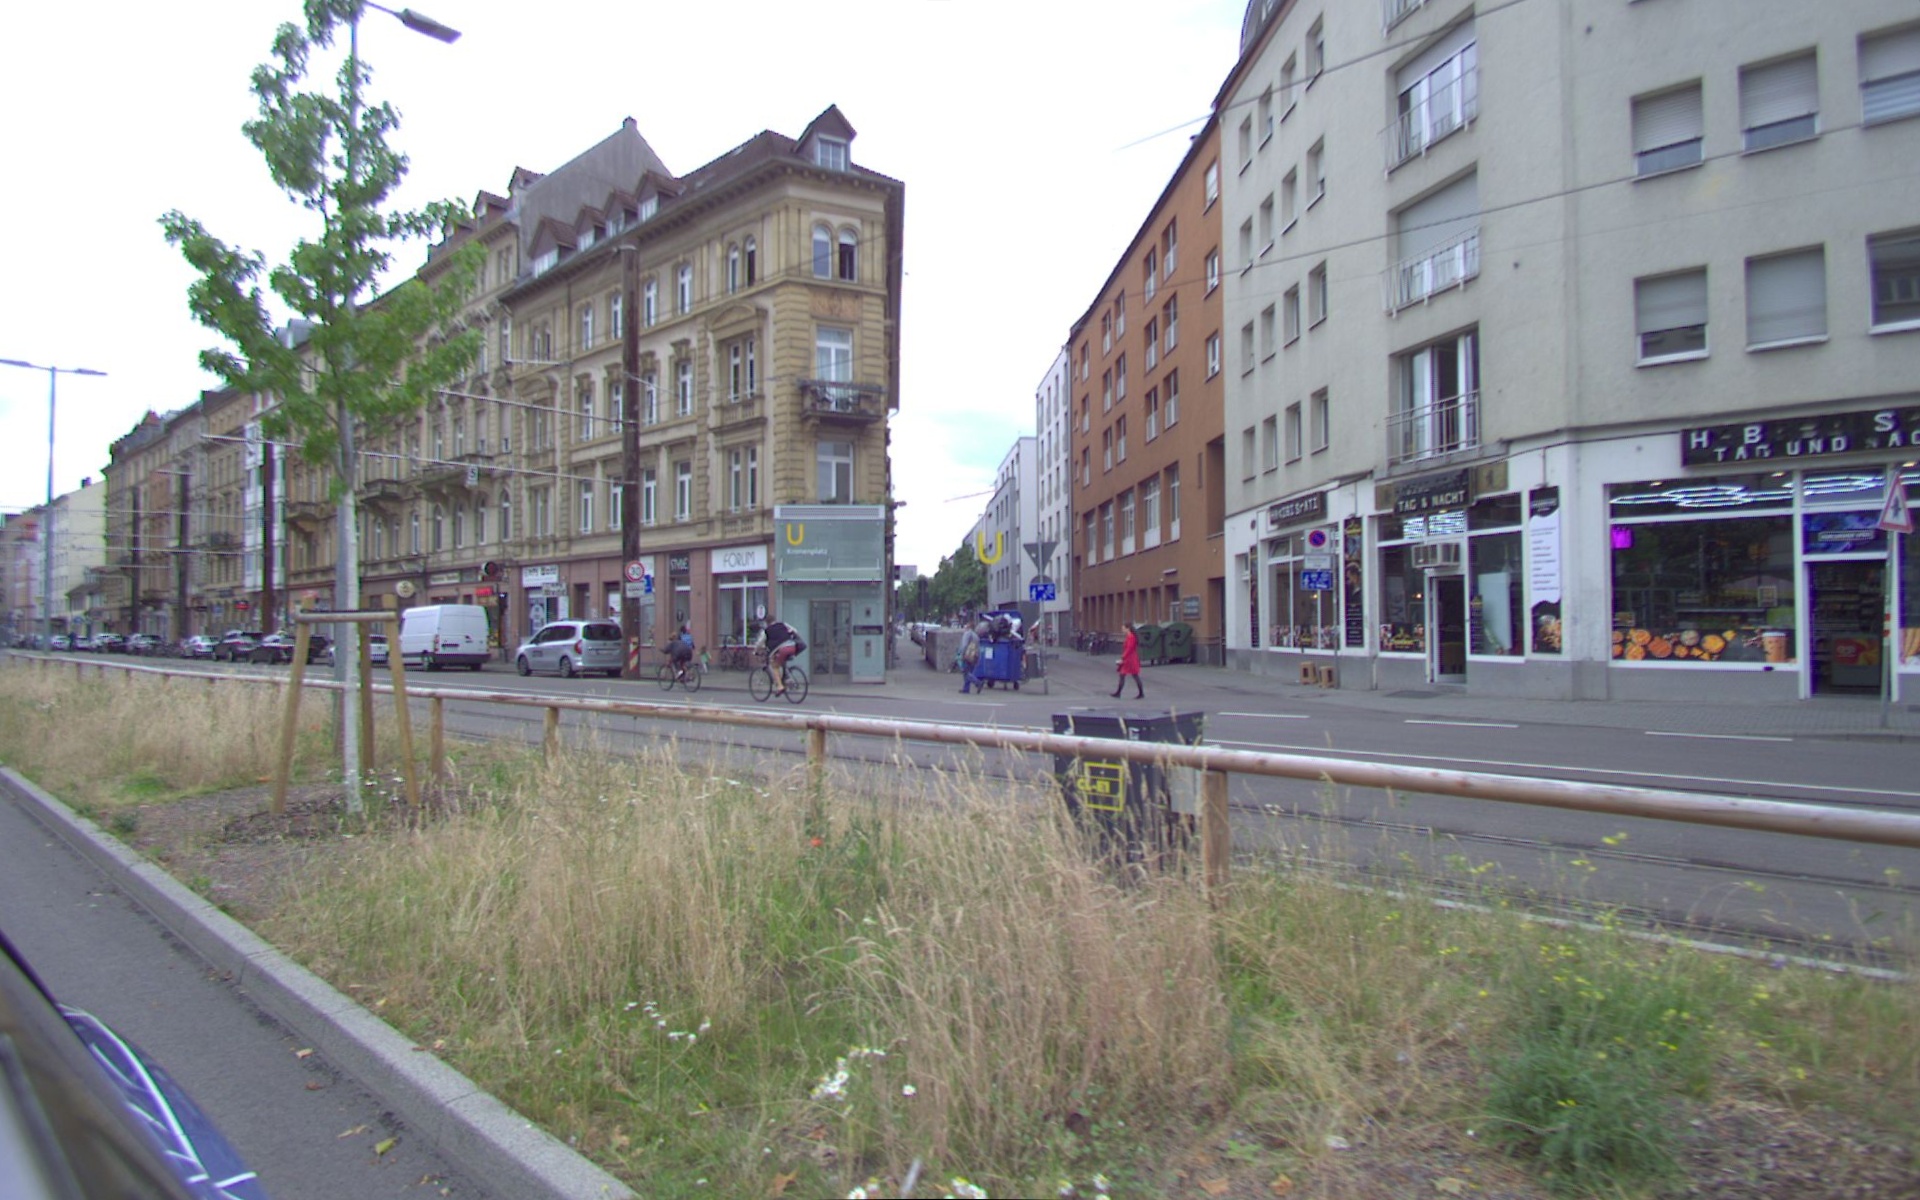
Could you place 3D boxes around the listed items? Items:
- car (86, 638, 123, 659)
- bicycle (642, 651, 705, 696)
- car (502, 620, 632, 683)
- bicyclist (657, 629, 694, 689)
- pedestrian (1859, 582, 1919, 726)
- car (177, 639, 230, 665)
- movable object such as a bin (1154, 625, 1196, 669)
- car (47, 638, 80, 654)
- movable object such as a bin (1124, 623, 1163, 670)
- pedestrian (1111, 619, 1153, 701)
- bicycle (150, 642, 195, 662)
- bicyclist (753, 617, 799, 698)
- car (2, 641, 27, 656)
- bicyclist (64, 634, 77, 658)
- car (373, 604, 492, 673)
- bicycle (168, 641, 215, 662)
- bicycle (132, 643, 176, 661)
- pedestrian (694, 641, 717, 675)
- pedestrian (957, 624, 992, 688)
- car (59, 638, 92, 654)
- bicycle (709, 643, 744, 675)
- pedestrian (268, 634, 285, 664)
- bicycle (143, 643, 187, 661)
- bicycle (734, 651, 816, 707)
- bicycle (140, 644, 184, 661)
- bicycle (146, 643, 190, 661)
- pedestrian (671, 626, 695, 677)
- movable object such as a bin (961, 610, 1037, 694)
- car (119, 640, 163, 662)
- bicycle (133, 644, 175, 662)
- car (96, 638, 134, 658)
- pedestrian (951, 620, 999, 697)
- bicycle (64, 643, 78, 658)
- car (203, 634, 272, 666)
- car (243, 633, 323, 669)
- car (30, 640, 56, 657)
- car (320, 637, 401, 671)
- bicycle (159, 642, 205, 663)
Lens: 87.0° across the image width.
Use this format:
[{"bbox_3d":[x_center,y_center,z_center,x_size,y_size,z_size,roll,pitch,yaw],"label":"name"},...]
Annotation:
[{"bbox_3d":[-71.104,4.007,84.124,4.043,1.685,1.725,-3,-4,41],"label":"car"},{"bbox_3d":[-6.948,1.766,24.518,1.910,1.029,0.474,-2,-3,40],"label":"bicycle"},{"bbox_3d":[-12.578,1.634,32.308,4.516,1.879,1.883,-2,-4,40],"label":"car"},{"bbox_3d":[-6.893,1.422,24.496,0.811,1.417,0.474,-2,-3,40],"label":"bicyclist"},{"bbox_3d":[11.508,0.644,12.307,0.719,1.700,0.655,0,-1,29],"label":"pedestrian"},{"bbox_3d":[-46.261,3.180,61.881,3.917,1.500,1.726,-3,-4,40],"label":"car"},{"bbox_3d":[7.327,1.589,34.512,0.995,1.416,1.241,-1,-1,-8],"label":"movable object such as a bin"},{"bbox_3d":[-85.345,4.383,96.288,4.543,1.533,1.805,-3,-4,42],"label":"car"},{"bbox_3d":[6.248,1.568,34.483,0.932,1.512,1.241,-1,-1,-8],"label":"movable object such as a bin"},{"bbox_3d":[3.660,1.253,21.508,0.659,1.700,0.715,0,-1,31],"label":"pedestrian"},{"bbox_3d":[-53.146,3.524,68.302,0.666,1.339,2.258,-2,-4,41],"label":"bicycle"},{"bbox_3d":[-3.599,1.120,19.798,0.811,1.552,0.486,-2,-3,40],"label":"bicyclist"},{"bbox_3d":[-115.637,5.938,123.742,3.824,1.745,1.904,-2,-1,41],"label":"car"},{"bbox_3d":[-71.943,3.693,81.851,1.028,1.897,0.638,-2,-1,43],"label":"bicyclist"},{"bbox_3d":[-20.593,1.513,39.366,5.661,2.506,2.032,-2,-5,40],"label":"car"},{"bbox_3d":[-48.577,3.270,63.991,0.666,1.339,2.258,-2,-4,41],"label":"bicycle"},{"bbox_3d":[-56.358,3.654,70.760,0.704,1.212,2.258,-2,-4,41],"label":"bicycle"},{"bbox_3d":[-8.011,1.824,31.899,0.547,1.038,0.454,0,-1,-41],"label":"pedestrian"},{"bbox_3d":[0.391,1.492,27.233,0.651,1.700,0.725,1,-1,-34],"label":"pedestrian"},{"bbox_3d":[-81.677,4.282,93.432,4.043,1.476,1.725,-3,-4,41],"label":"car"},{"bbox_3d":[-7.537,1.888,32.608,0.336,0.966,1.689,0,-1,-42],"label":"bicycle"},{"bbox_3d":[-41.738,3.011,61.810,0.644,1.796,0.787,-1,-1,-12],"label":"pedestrian"},{"bbox_3d":[-54.626,3.606,69.594,0.666,1.212,2.258,-2,-4,41],"label":"bicycle"},{"bbox_3d":[-3.647,1.522,19.834,1.910,1.029,0.471,-2,-3,40],"label":"bicycle"},{"bbox_3d":[-55.237,3.638,70.072,0.704,1.212,2.258,-2,-4,41],"label":"bicycle"},{"bbox_3d":[-54.089,3.578,69.124,0.666,1.212,2.258,-2,-4,41],"label":"bicycle"},{"bbox_3d":[-8.693,1.611,31.744,0.546,1.568,0.659,-1,-1,-32],"label":"pedestrian"},{"bbox_3d":[0.946,1.245,24.908,1.018,1.996,1.619,2,-1,-42],"label":"movable object such as a bin"},{"bbox_3d":[-59.807,3.723,73.871,4.222,1.545,1.725,-3,-4,41],"label":"car"},{"bbox_3d":[-56.779,3.721,71.317,0.547,1.212,2.258,-2,-2,41],"label":"bicycle"},{"bbox_3d":[-67.429,3.825,80.748,3.919,1.500,1.725,-3,-4,42],"label":"car"},{"bbox_3d":[0.336,1.320,23.080,0.811,1.700,0.725,1,-1,-32],"label":"pedestrian"},{"bbox_3d":[-71.842,4.099,81.800,2.045,1.183,0.578,-2,-4,43],"label":"bicycle"},{"bbox_3d":[-40.401,2.804,56.545,5.025,1.703,1.795,-2,-3,39],"label":"car"},{"bbox_3d":[-33.804,2.536,50.474,5.048,1.702,1.900,-2,-5,40],"label":"car"},{"bbox_3d":[-99.680,5.290,109.981,3.919,1.770,1.684,-2,-3,43],"label":"car"},{"bbox_3d":[-26.428,2.367,44.561,4.161,1.434,1.753,-2,-5,40],"label":"car"},{"bbox_3d":[-50.527,3.408,65.753,0.666,1.339,2.258,-2,-4,41],"label":"bicycle"}]
